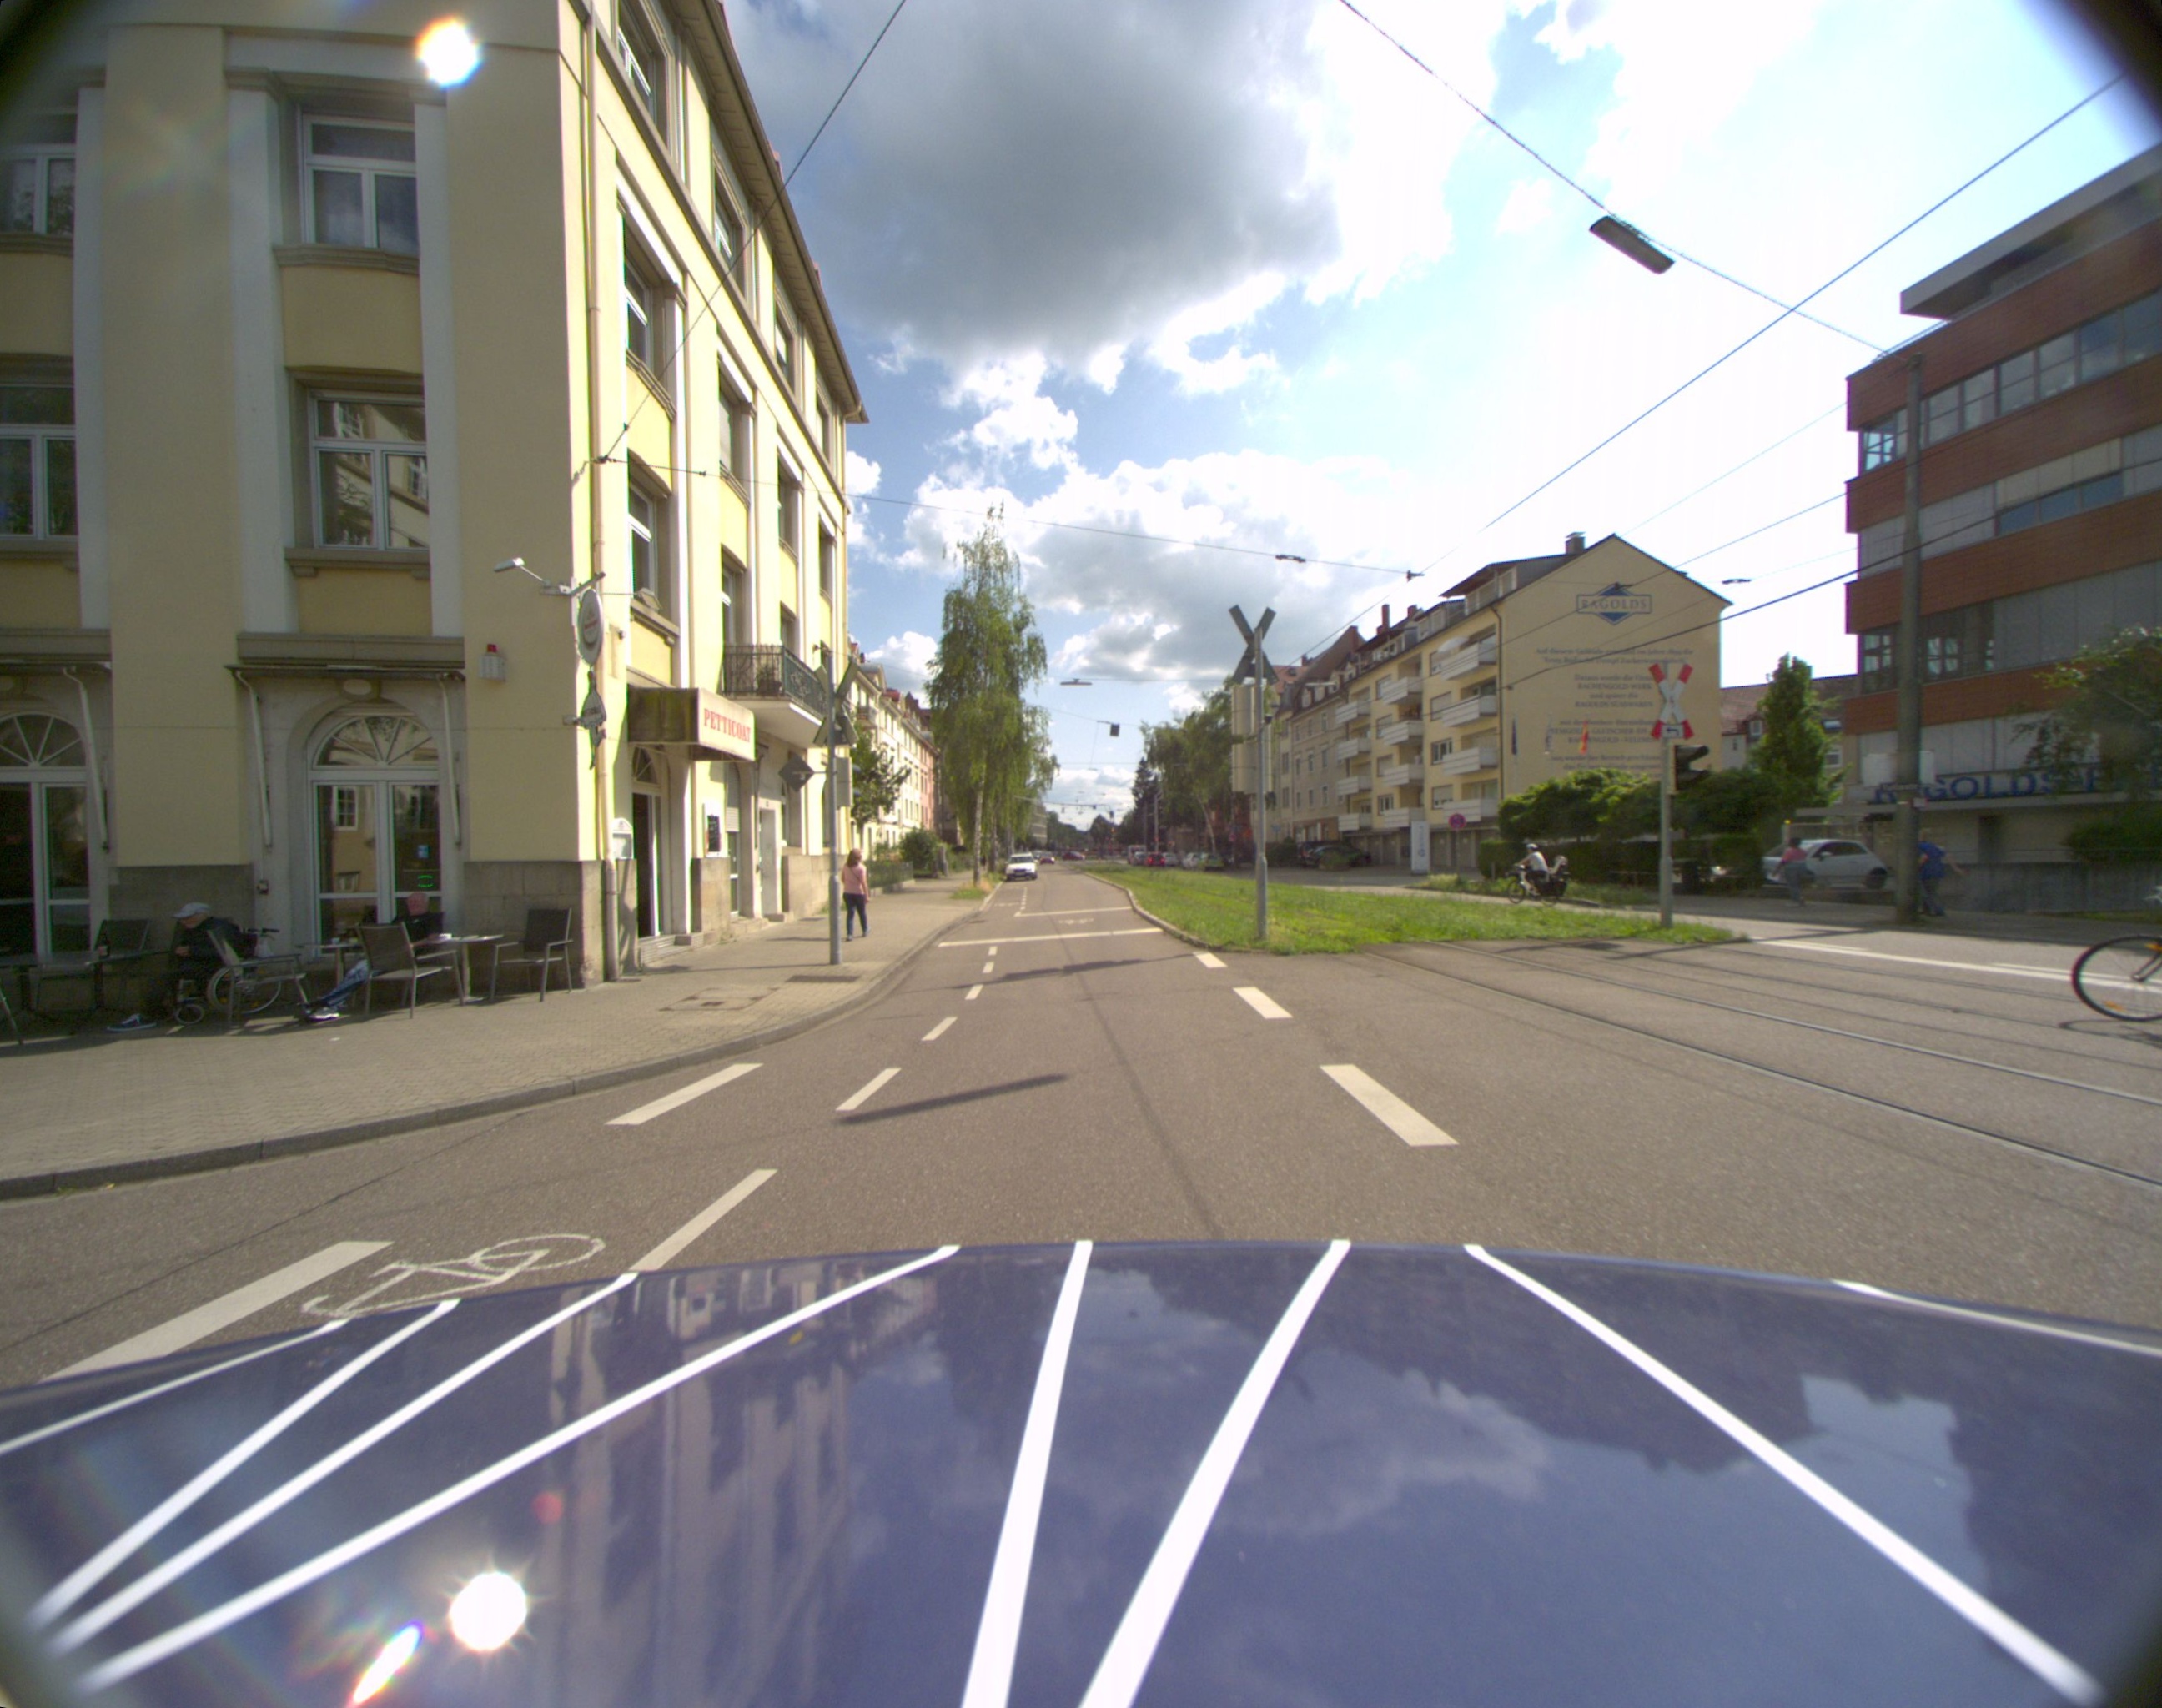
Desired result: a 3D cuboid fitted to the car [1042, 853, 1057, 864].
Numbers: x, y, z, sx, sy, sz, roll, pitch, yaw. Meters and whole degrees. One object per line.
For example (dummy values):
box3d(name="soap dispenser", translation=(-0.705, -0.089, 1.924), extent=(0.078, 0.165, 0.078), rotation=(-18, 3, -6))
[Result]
box3d(name="car", translation=(-3.972, 0.562, 95.926), extent=(1.741, 1.313, 3.999), rotation=(-3, 1, 0))

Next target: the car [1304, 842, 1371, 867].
box3d(name="car", translation=(18.069, 0.031, 53.620), extent=(3.998, 1.593, 1.972), rotation=(-3, 1, -3))

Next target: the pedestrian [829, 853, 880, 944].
box3d(name="pedestrian", translation=(-4.202, 0.813, 14.131), extent=(0.673, 1.638, 0.764), rotation=(1, 0, 3))

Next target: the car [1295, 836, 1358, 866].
box3d(name="car", translation=(18.154, -0.218, 56.370), extent=(3.997, 2.002, 1.937), rotation=(-3, 1, 0))

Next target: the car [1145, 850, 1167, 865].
box3d(name="car", translation=(7.213, 0.332, 73.134), extent=(1.583, 1.379, 3.691), rotation=(0, 0, -3))

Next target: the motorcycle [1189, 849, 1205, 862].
box3d(name="motorcycle", translation=(11.869, 0.157, 77.750), extent=(0.903, 1.235, 2.292), rotation=(-1, 0, -9))

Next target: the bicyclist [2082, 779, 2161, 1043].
box3d(name="bicyclist", translation=(8.734, 0.432, 5.480), extent=(0.951, 2.002, 1.574), rotation=(0, 1, -16))

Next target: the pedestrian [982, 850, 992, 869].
box3d(name="pedestrian", translation=(-8.160, 0.477, 66.166), extent=(0.732, 1.673, 0.691), rotation=(1, 1, 0))

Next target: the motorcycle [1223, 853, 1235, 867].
box3d(name="motorcycle", translation=(12.454, 0.511, 64.032), extent=(0.500, 1.037, 1.631), rotation=(-4, 2, -4))

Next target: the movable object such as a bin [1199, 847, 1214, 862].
box3d(name="movable object such as a bin", translation=(12.343, 0.087, 74.840), extent=(0.953, 1.359, 1.521), rotation=(-6, 1, -4))

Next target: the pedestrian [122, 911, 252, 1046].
box3d(name="pedestrian", translation=(-9.105, 1.240, 7.763), extent=(0.536, 1.261, 0.661), rotation=(0, 1, -7))

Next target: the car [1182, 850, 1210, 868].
box3d(name="car", translation=(10.107, 0.402, 67.078), extent=(1.649, 1.469, 4.224), rotation=(1, 0, -3))

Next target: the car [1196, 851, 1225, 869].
box3d(name="car", translation=(10.540, 0.485, 62.045), extent=(1.598, 1.424, 3.613), rotation=(0, 0, -3))

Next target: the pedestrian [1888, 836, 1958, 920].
box3d(name="pedestrian", translation=(16.871, 0.463, 15.243), extent=(0.558, 1.647, 0.746), rotation=(-1, 1, -1))

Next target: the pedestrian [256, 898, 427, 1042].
box3d(name="pedestrian", translation=(-7.728, 1.165, 8.021), extent=(0.536, 1.261, 1.302), rotation=(-2, 3, -7))

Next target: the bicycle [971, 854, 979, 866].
box3d(name="bicycle", translation=(-9.806, 0.575, 70.512), extent=(0.473, 1.071, 2.182), rotation=(-1, 0, -2))

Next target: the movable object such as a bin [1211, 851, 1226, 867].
box3d(name="movable object such as a bin", translation=(12.401, 0.426, 68.453), extent=(0.953, 1.421, 1.521), rotation=(-3, 1, -4))

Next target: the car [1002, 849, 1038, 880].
box3d(name="car", translation=(-3.503, 0.602, 44.454), extent=(1.726, 1.620, 3.999), rotation=(-3, 1, -1))

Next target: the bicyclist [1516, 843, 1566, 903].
box3d(name="bicyclist", translation=(12.416, 0.492, 20.510), extent=(0.787, 1.573, 0.863), rotation=(0, 1, -6))

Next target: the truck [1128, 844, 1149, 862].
box3d(name="truck", translation=(7.255, -0.164, 96.273), extent=(2.190, 2.201, 6.612), rotation=(0, 0, 1))

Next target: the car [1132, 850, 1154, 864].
box3d(name="car", translation=(6.553, 0.292, 80.374), extent=(1.760, 1.348, 4.510), rotation=(1, 1, -2))

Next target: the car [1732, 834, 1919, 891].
box3d(name="car", translation=(22.572, 0.241, 23.131), extent=(3.999, 1.587, 1.999), rotation=(-1, 1, -6))

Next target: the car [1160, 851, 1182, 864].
box3d(name="car", translation=(9.499, 0.340, 80.323), extent=(1.760, 1.348, 3.993), rotation=(0, 1, -2))

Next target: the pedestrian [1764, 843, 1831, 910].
box3d(name="pedestrian", translation=(17.423, 0.521, 18.492), extent=(0.747, 1.565, 0.889), rotation=(-1, 2, -1))

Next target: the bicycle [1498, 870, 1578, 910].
box3d(name="bicycle", translation=(12.392, 0.945, 20.691), extent=(0.682, 0.965, 2.177), rotation=(0, 0, -6))

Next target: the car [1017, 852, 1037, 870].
box3d(name="car", translation=(-4.814, 0.575, 67.819), extent=(1.624, 1.444, 3.916), rotation=(-4, 1, -4))

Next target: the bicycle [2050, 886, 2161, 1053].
box3d(name="bicycle", translation=(8.714, 0.871, 5.592), extent=(1.782, 1.171, 1.160), rotation=(0, 1, 43))
